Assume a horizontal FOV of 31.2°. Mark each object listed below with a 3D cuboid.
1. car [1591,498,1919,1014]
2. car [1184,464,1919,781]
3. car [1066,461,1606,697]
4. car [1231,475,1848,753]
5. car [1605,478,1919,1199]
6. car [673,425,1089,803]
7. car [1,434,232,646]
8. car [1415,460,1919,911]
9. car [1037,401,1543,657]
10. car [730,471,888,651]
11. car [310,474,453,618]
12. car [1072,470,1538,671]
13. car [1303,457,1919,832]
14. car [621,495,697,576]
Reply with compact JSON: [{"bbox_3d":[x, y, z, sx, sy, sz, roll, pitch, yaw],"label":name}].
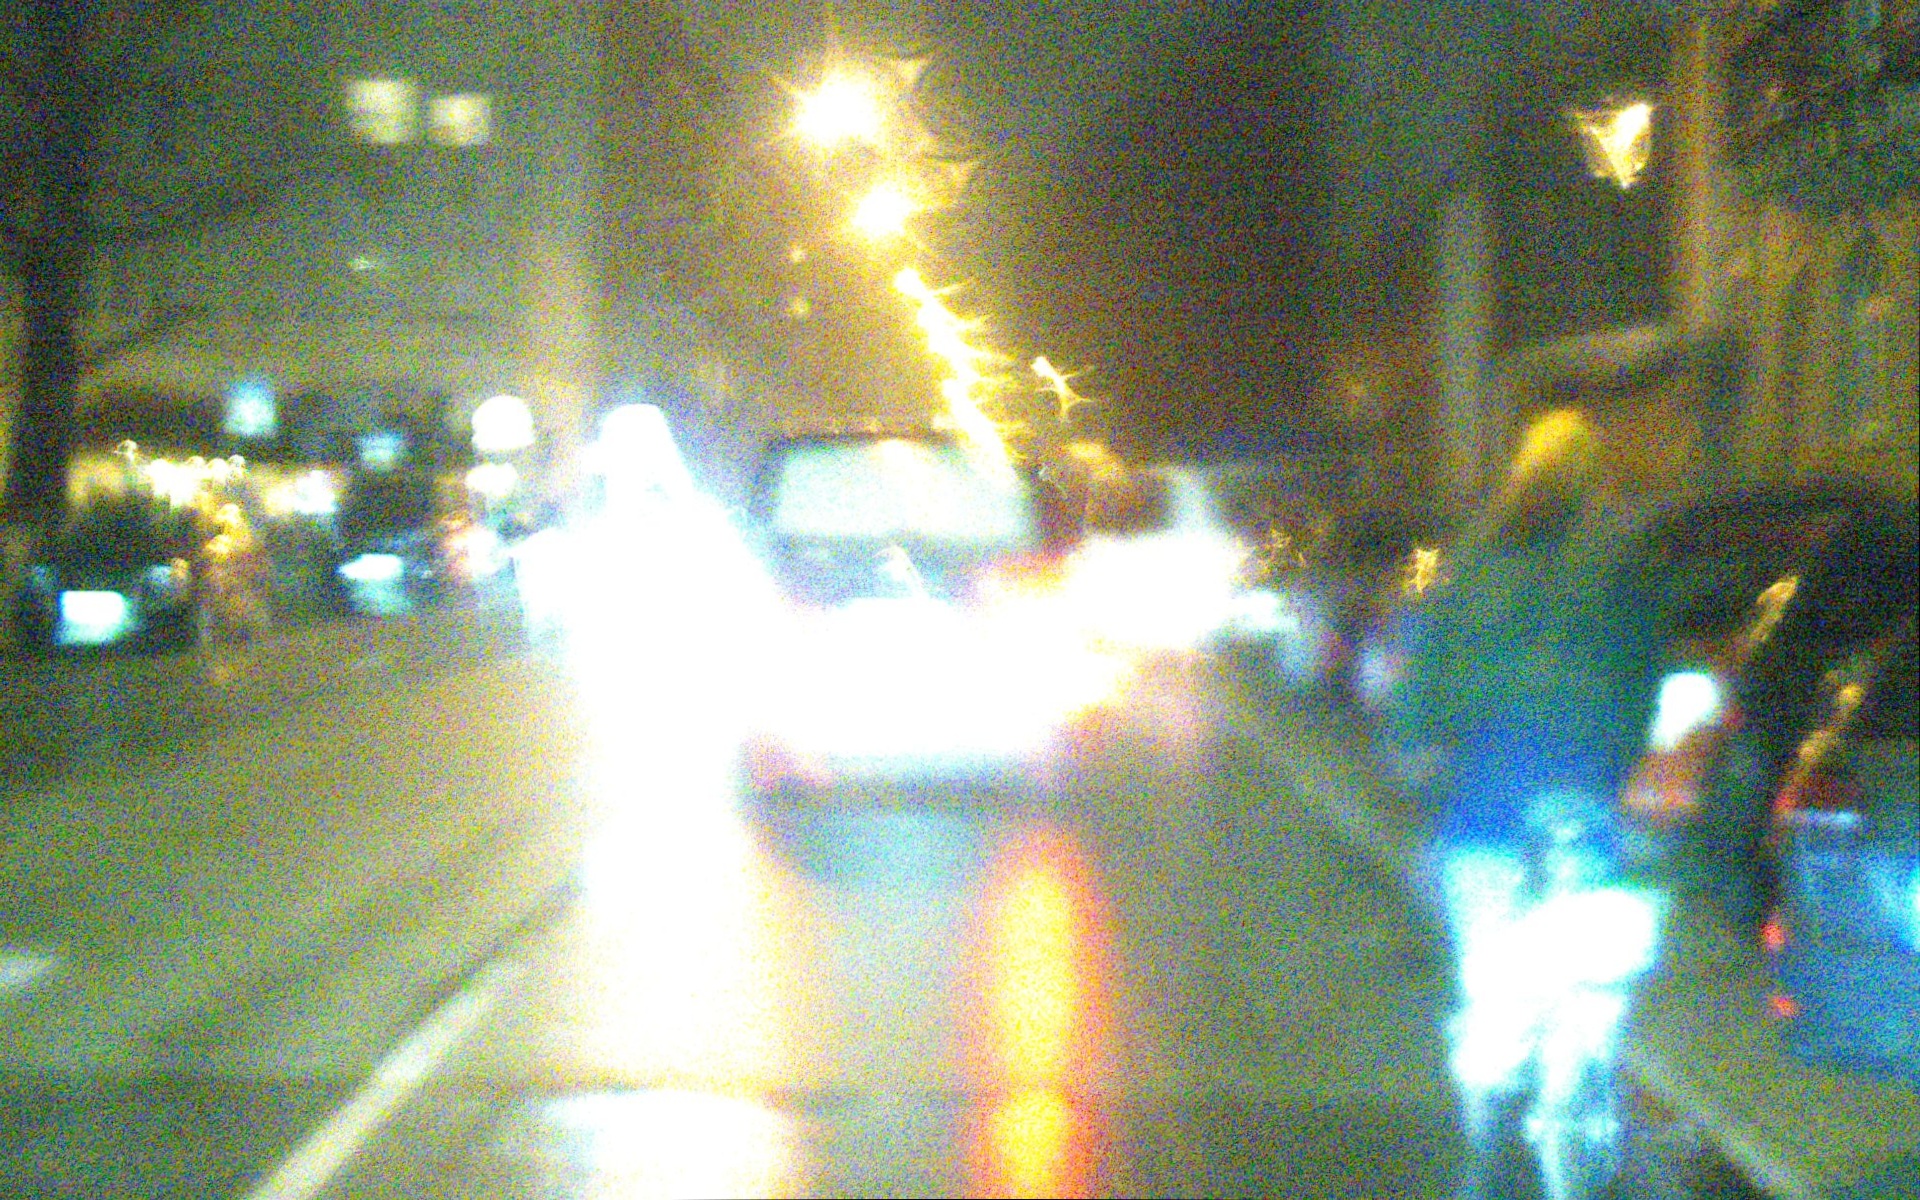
[{"bbox_3d":[4.193,0.369,11.617,4.173,1.470,1.661,-3,3,-38],"label":"car"},{"bbox_3d":[3.632,0.072,20.586,4.171,1.639,1.771,-3,2,-20],"label":"car"},{"bbox_3d":[3.040,-0.218,27.378,4.173,1.639,1.770,-3,3,-37],"label":"car"},{"bbox_3d":[4.028,0.029,23.596,4.173,1.639,1.770,-3,3,-37],"label":"car"},{"bbox_3d":[3.675,0.465,8.052,4.172,1.584,1.731,-3,3,-33],"label":"car"},{"bbox_3d":[-0.397,0.013,20.278,2.168,1.965,4.302,-1,2,1],"label":"car"},{"bbox_3d":[-8.439,-0.627,34.165,1.990,1.965,4.303,0,2,-17],"label":"car"},{"bbox_3d":[4.007,0.234,14.829,4.174,1.639,1.661,-4,3,-41],"label":"car"},{"bbox_3d":[3.438,-0.781,35.293,4.995,2.383,2.139,-3,3,-37],"label":"car"},{"bbox_3d":[-1.757,-0.490,39.632,1.724,1.965,4.222,0,2,-3],"label":"car"},{"bbox_3d":[-8.292,-0.800,49.100,1.724,1.965,3.729,0,2,-14],"label":"car"},{"bbox_3d":[3.237,-0.314,31.857,4.173,1.639,1.770,-3,3,-37],"label":"car"},{"bbox_3d":[4.024,0.134,17.328,4.171,1.639,1.771,-3,2,-20],"label":"car"},{"bbox_3d":[-7.415,-1.619,84.959,1.724,1.965,4.222,0,2,-3],"label":"car"}]
